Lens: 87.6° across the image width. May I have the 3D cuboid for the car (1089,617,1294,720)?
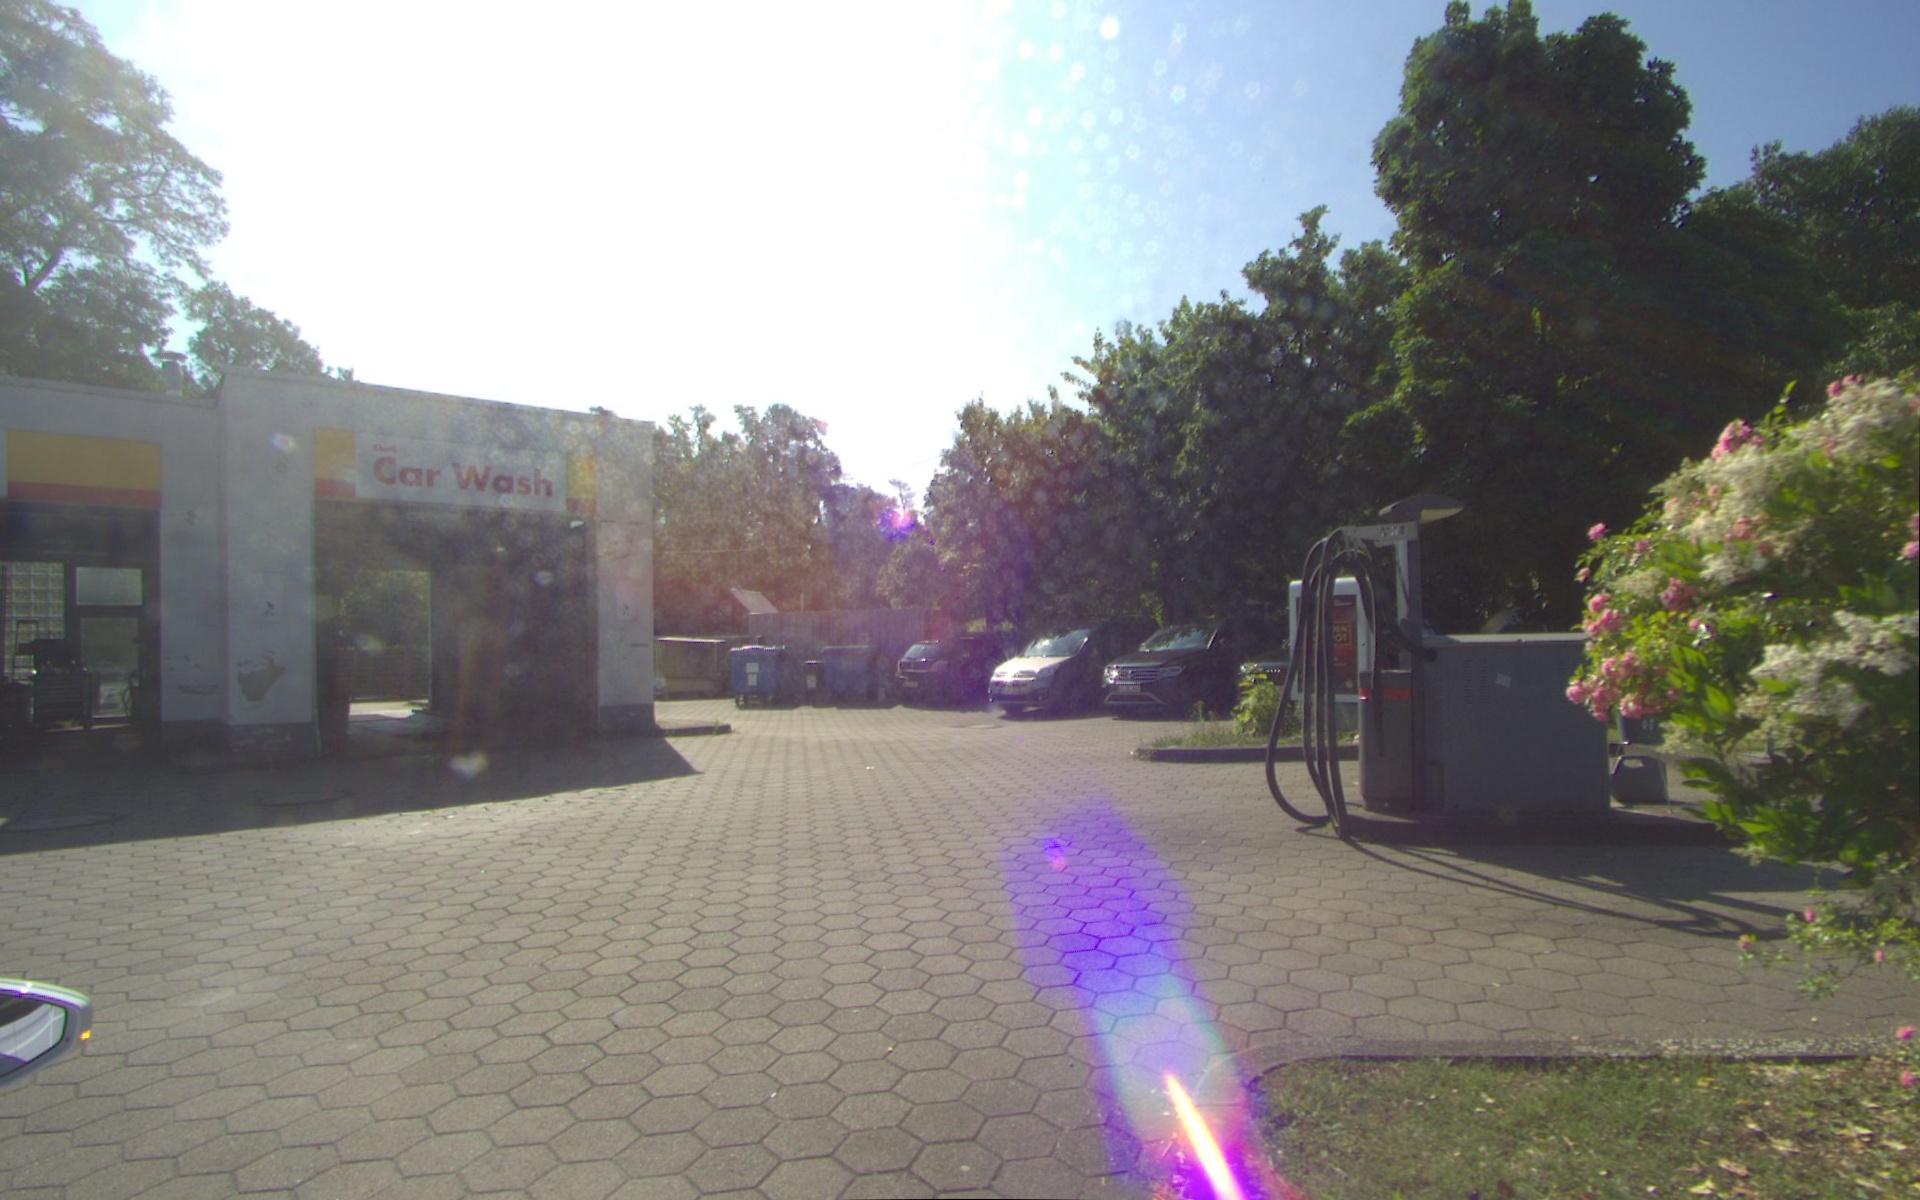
[{"bbox_3d":[4.238,1.178,18.030,3.899,1.649,1.669,1,-3,-42],"label":"car"}]

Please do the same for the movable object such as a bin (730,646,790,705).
[{"bbox_3d":[-4.702,1.771,23.617,1.211,1.342,0.850,-1,-2,3],"label":"movable object such as a bin"}]

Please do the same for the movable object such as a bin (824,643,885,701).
[{"bbox_3d":[-2.458,1.666,23.384,1.212,1.306,0.866,-1,-2,12],"label":"movable object such as a bin"}]

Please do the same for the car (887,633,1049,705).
[{"bbox_3d":[0.220,1.522,23.022,3.470,1.457,1.670,1,-1,-39],"label":"car"}]

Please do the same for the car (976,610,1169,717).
[{"bbox_3d":[2.331,1.208,20.147,3.897,1.816,1.669,-2,-1,-42],"label":"car"}]

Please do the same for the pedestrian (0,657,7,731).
[{"bbox_3d":[-16.275,1.571,16.442,0.856,1.212,0.737,0,-4,-41],"label":"pedestrian"}]

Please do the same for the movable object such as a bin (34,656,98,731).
[{"bbox_3d":[-15.559,1.617,17.442,0.790,1.251,0.541,0,-4,-38],"label":"movable object such as a bin"}]

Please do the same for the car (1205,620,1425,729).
[{"bbox_3d":[5.771,1.119,16.070,3.899,1.530,1.669,1,-3,-42],"label":"car"}]

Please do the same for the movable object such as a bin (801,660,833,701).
[{"bbox_3d":[-3.351,1.893,23.564,0.484,0.921,0.866,-1,-2,11],"label":"movable object such as a bin"}]
